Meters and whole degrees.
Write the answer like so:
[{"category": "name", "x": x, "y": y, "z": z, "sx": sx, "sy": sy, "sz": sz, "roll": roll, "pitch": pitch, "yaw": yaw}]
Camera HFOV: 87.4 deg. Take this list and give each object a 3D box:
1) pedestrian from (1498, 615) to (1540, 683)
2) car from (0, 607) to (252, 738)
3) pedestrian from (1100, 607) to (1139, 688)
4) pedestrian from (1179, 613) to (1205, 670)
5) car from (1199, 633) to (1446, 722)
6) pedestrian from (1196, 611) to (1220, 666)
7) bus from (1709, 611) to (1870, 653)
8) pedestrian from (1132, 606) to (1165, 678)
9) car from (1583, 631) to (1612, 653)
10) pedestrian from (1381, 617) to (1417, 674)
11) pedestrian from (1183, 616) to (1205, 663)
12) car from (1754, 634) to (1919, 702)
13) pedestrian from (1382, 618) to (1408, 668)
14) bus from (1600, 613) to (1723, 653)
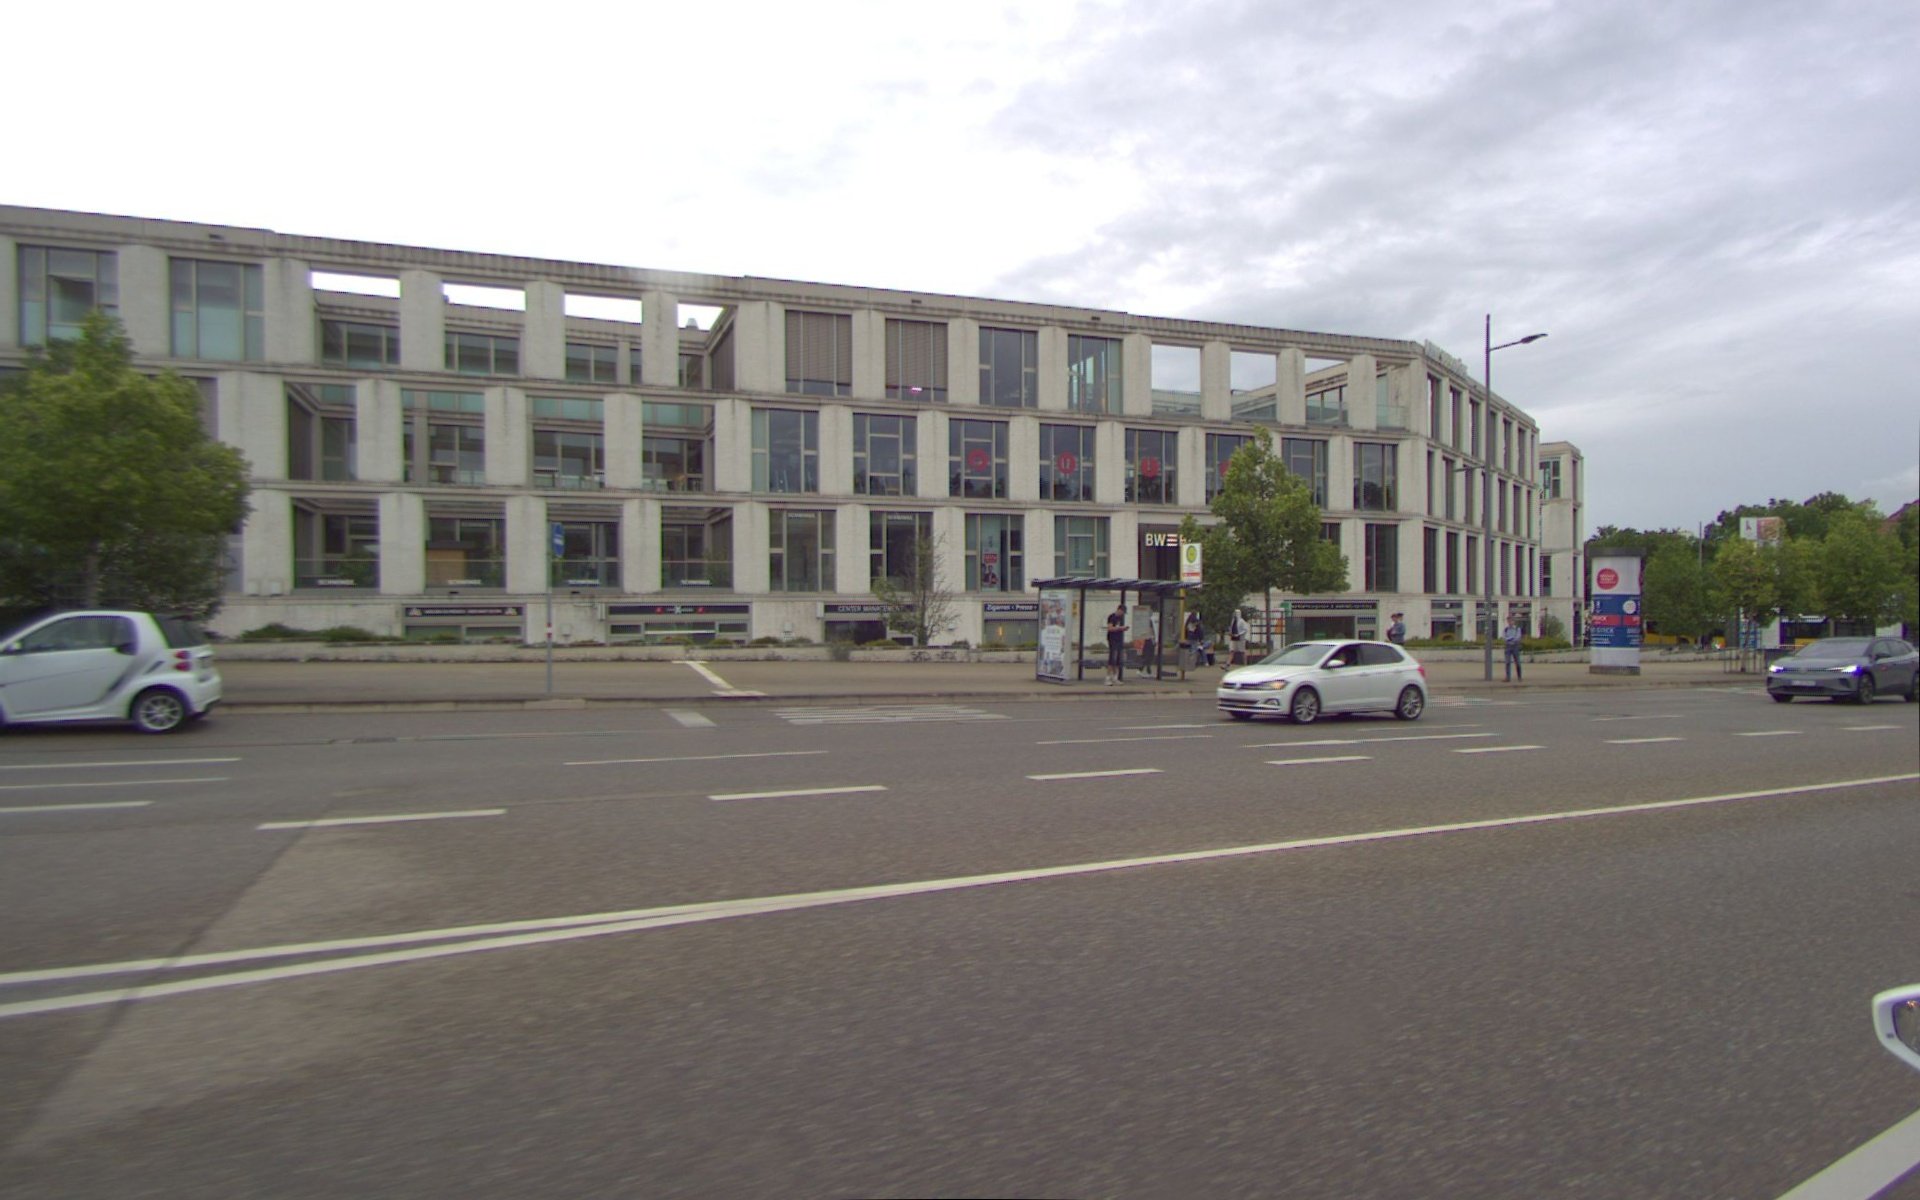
[{"category": "pedestrian", "x": 15.794, "y": 1.370, "z": 28.378, "sx": 0.736, "sy": 1.866, "sz": 0.751, "roll": 1, "pitch": -1, "yaw": -24}, {"category": "car", "x": -11.172, "y": 0.906, "z": 13.055, "sx": 2.934, "sy": 1.528, "sz": 1.608, "roll": 2, "pitch": 0, "yaw": -26}, {"category": "pedestrian", "x": 3.763, "y": 1.111, "z": 23.750, "sx": 0.746, "sy": 1.866, "sz": 0.505, "roll": 1, "pitch": -1, "yaw": -27}, {"category": "pedestrian", "x": 7.185, "y": 1.270, "z": 31.109, "sx": 0.558, "sy": 1.748, "sz": 0.523, "roll": 1, "pitch": -1, "yaw": -24}, {"category": "car", "x": 6.545, "y": 1.377, "z": 18.124, "sx": 4.121, "sy": 1.448, "sz": 1.867, "roll": 2, "pitch": -4, "yaw": -26}, {"category": "pedestrian", "x": 7.980, "y": 1.243, "z": 32.320, "sx": 0.612, "sy": 1.748, "sz": 0.425, "roll": 1, "pitch": -1, "yaw": -26}, {"category": "bus", "x": 66.144, "y": 2.474, "z": 80.478, "sx": 2.858, "sy": 3.144, "sz": 9.699, "roll": 1, "pitch": -1, "yaw": -24}, {"category": "pedestrian", "x": 4.996, "y": 1.107, "z": 26.628, "sx": 0.599, "sy": 1.880, "sz": 0.578, "roll": 1, "pitch": -1, "yaw": -28}, {"category": "car", "x": 52.813, "y": 3.436, "z": 83.195, "sx": 1.750, "sy": 1.754, "sz": 3.986, "roll": 0, "pitch": -1, "yaw": 36}, {"category": "pedestrian", "x": 13.829, "y": 1.427, "z": 31.635, "sx": 0.845, "sy": 1.785, "sz": 0.597, "roll": 1, "pitch": -1, "yaw": -24}, {"category": "pedestrian", "x": 7.412, "y": 1.261, "z": 31.860, "sx": 0.503, "sy": 1.470, "sz": 0.425, "roll": 1, "pitch": -1, "yaw": -26}, {"category": "car", "x": 22.128, "y": 1.697, "z": 25.094, "sx": 4.533, "sy": 1.592, "sz": 1.826, "roll": 2, "pitch": -4, "yaw": -26}, {"category": "pedestrian", "x": 15.086, "y": 1.476, "z": 34.803, "sx": 0.909, "sy": 1.712, "sz": 0.492, "roll": 2, "pitch": -1, "yaw": -43}, {"category": "bus", "x": 61.732, "y": 2.866, "z": 88.649, "sx": 2.862, "sy": 3.351, "sz": 8.512, "roll": 1, "pitch": -1, "yaw": -29}]
